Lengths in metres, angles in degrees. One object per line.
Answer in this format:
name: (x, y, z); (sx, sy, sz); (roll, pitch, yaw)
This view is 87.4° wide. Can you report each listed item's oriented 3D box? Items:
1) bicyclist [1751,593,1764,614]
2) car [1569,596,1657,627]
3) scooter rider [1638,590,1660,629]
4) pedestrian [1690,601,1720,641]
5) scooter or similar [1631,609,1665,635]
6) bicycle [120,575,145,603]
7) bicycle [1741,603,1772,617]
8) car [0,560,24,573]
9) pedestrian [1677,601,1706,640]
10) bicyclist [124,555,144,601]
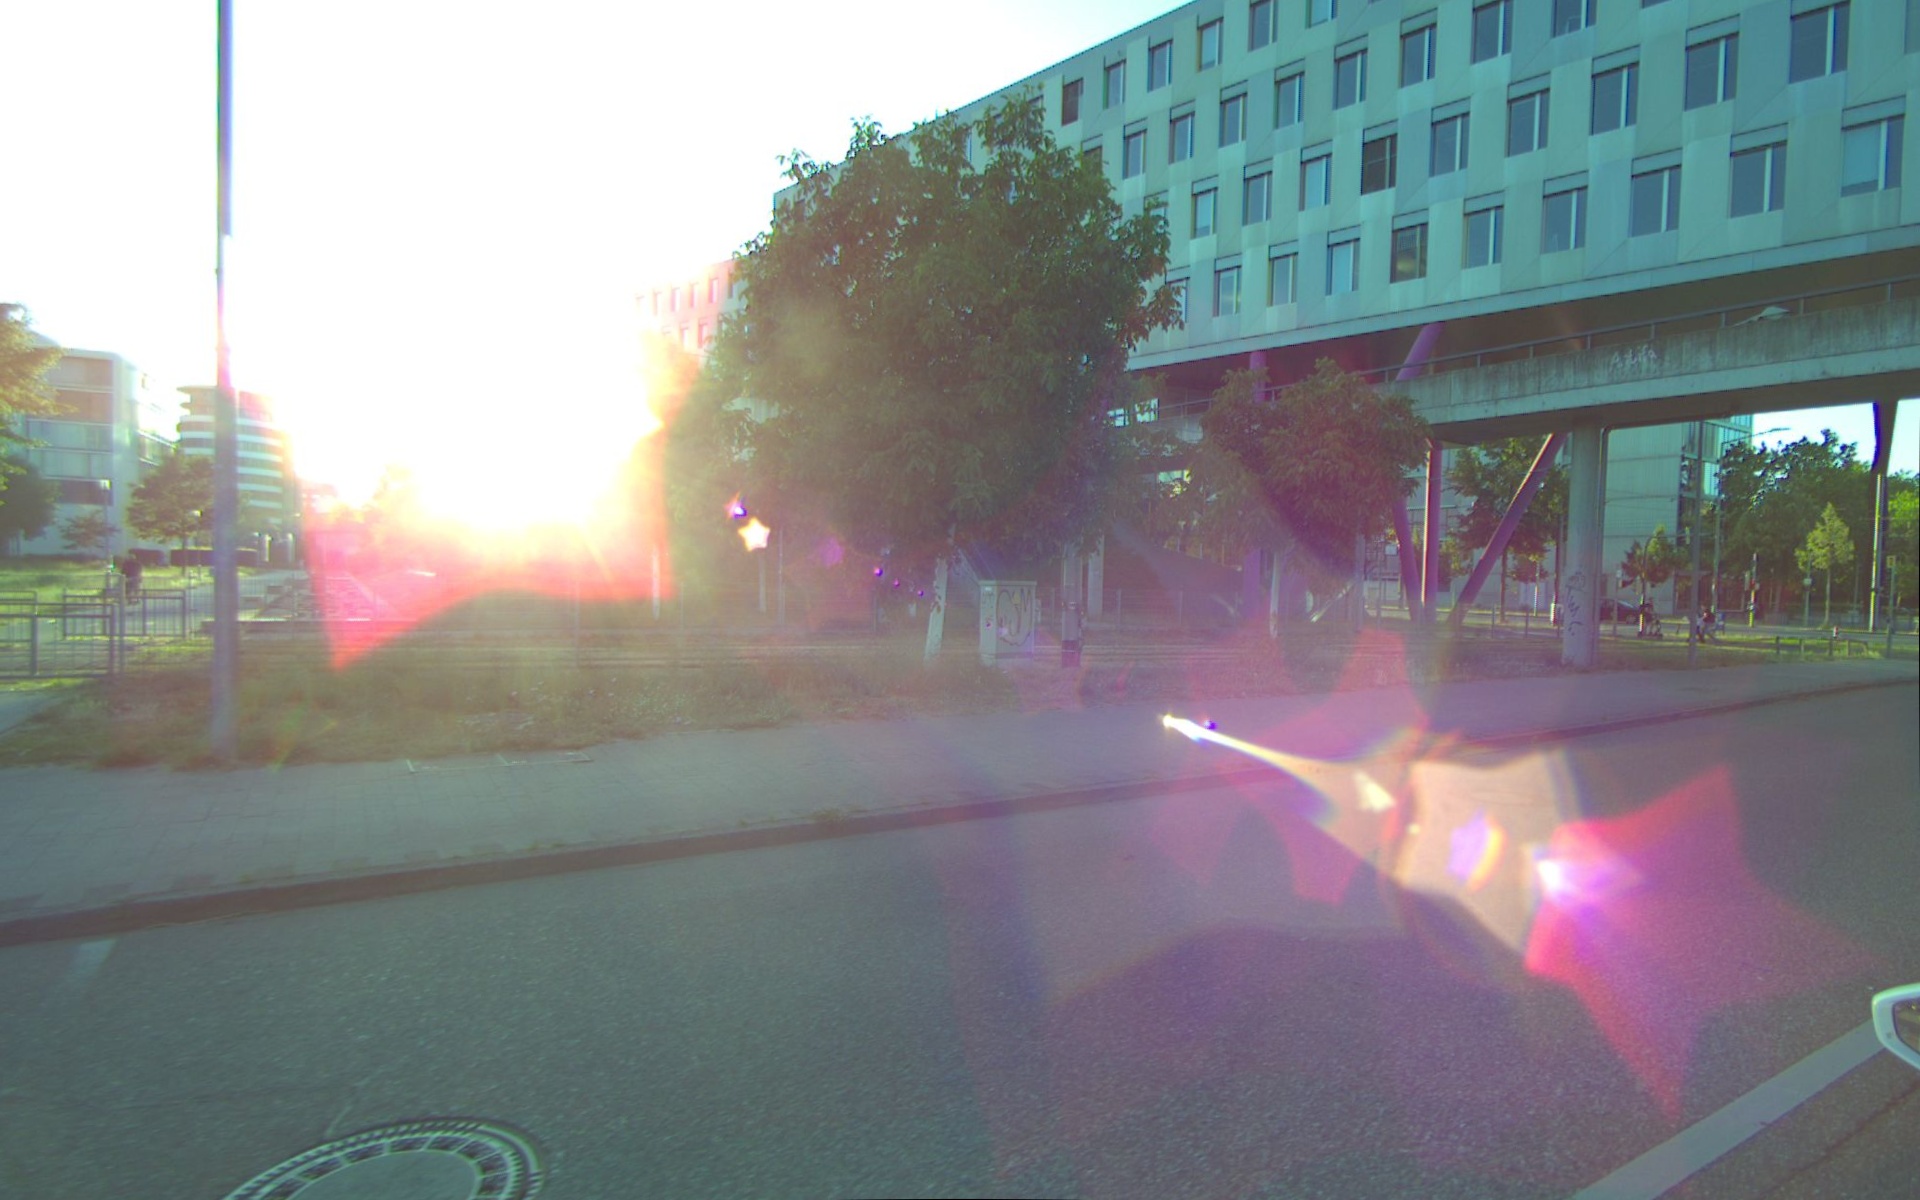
bicyclist: (66.930, 0.304, 84.341); (0.746, 1.746, 0.550); (2, 2, 34)
car: (42.741, 0.691, 65.805); (1.924, 1.841, 4.441); (0, 2, -32)
scooter rider: (32.791, 0.447, 47.828); (0.438, 1.807, 0.701); (-1, 2, -35)
pedestrian: (32.250, 0.912, 43.492); (0.700, 1.686, 0.700); (0, 2, -14)
scooter or similar: (32.769, 1.040, 47.864); (0.498, 1.217, 1.205); (-1, 2, -35)
bicycle: (-27.269, -0.376, 33.122); (0.426, 0.912, 1.225); (0, 2, -30)
bicycle: (66.895, 0.846, 84.398); (1.935, 1.143, 0.559); (2, 2, 34)
car: (-120.689, -4.215, 126.526); (3.834, 1.635, 1.689); (0, 2, -30)
pedestrian: (31.505, 0.862, 43.265); (0.700, 1.646, 0.686); (0, 2, -14)
bicyclist: (-27.324, -0.720, 33.224); (0.419, 1.515, 0.510); (0, 2, -30)
